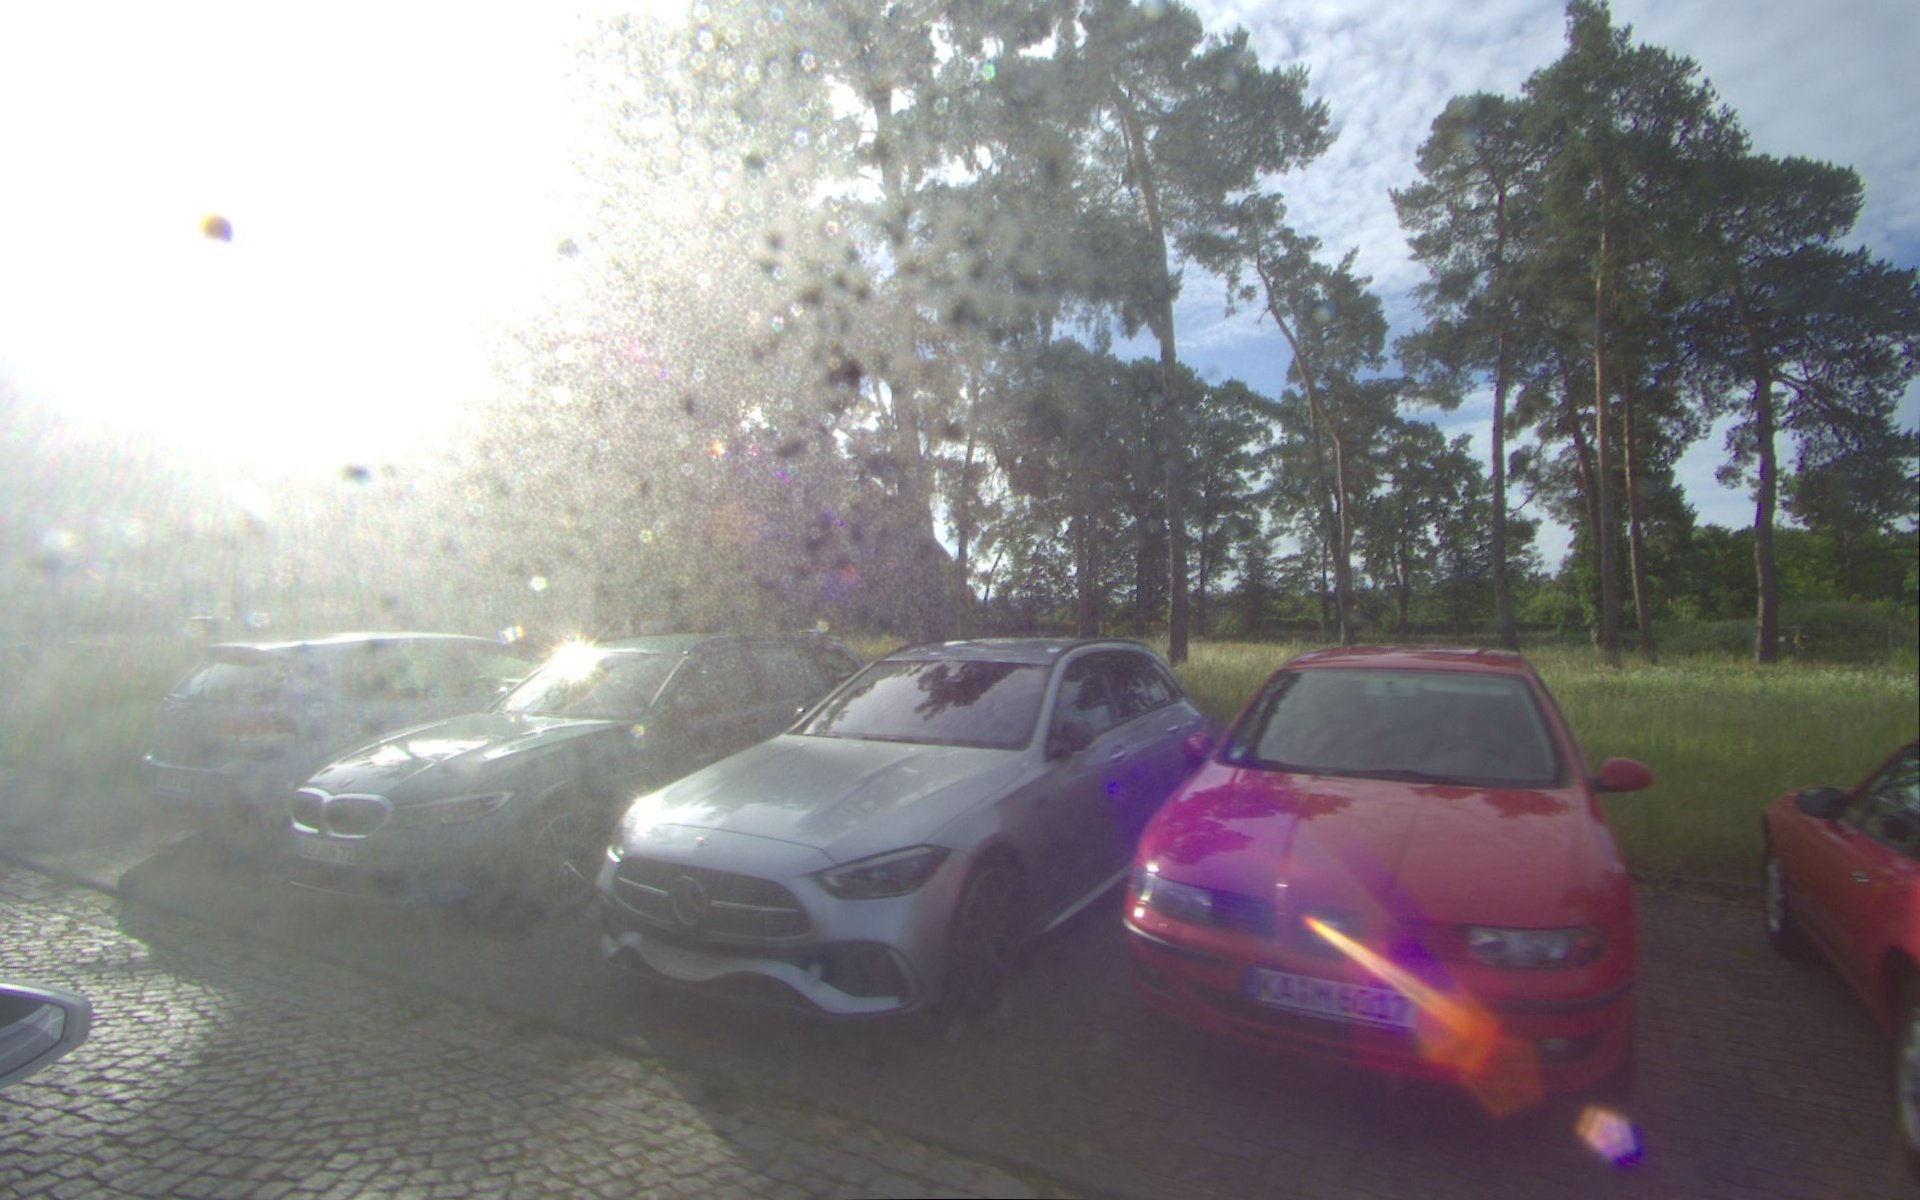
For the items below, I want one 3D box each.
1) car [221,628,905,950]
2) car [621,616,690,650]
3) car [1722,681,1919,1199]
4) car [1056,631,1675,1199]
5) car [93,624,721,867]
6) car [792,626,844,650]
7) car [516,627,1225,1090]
[{"bbox_3d":[-2.290,0.966,7.171,1.865,1.492,4.507,-1,-2,26],"label":"car"},{"bbox_3d":[-24.220,2.645,79.927,2.231,2.567,5.152,-1,-2,31],"label":"car"},{"bbox_3d":[3.962,1.027,3.364,1.701,1.277,3.947,-1,-2,30],"label":"car"},{"bbox_3d":[2.127,0.919,4.880,1.713,1.492,4.337,-1,-2,29],"label":"car"},{"bbox_3d":[-4.356,0.979,8.772,1.903,1.524,4.541,-1,-2,28],"label":"car"},{"bbox_3d":[-10.249,2.772,72.404,1.828,1.701,3.931,-1,-2,28],"label":"car"},{"bbox_3d":[0.025,0.918,5.705,1.822,1.492,4.502,-1,-2,29],"label":"car"}]
